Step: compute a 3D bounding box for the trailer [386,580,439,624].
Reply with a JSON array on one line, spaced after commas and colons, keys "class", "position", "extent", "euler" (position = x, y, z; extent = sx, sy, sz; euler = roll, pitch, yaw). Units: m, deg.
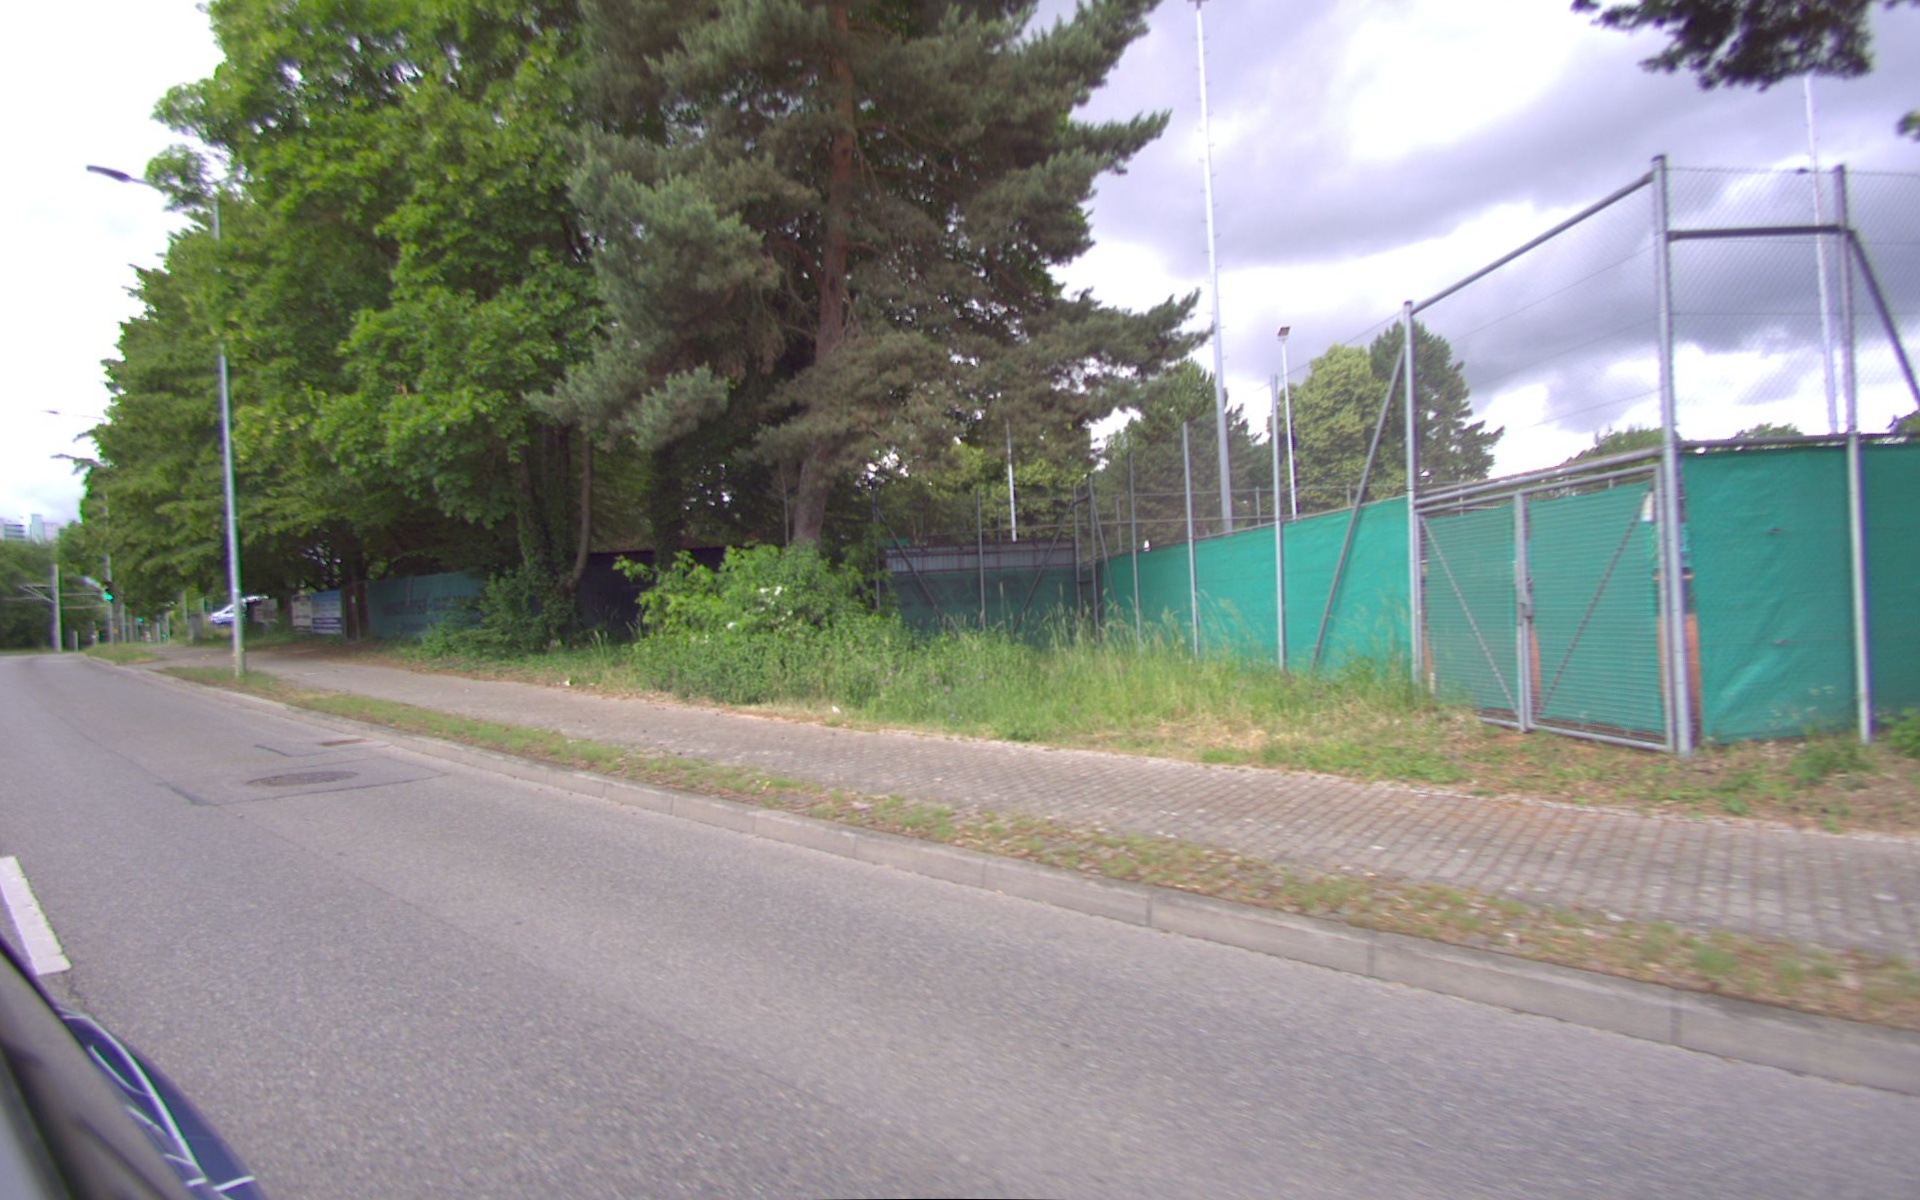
[{"class": "trailer", "position": [-41.418, 0.196, 76.423], "extent": [2.613, 3.097, 7.214], "euler": [-4, 1, -34]}]

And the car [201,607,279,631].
[{"class": "car", "position": [-50.096, 1.303, 70.516], "extent": [4.320, 1.326, 1.567], "euler": [-4, -1, -35]}]

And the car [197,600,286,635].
[{"class": "car", "position": [-51.813, 1.257, 73.047], "extent": [5.088, 2.122, 2.220], "euler": [-4, -1, -35]}]

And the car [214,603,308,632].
[{"class": "car", "position": [-46.907, 1.180, 68.016], "extent": [5.088, 1.573, 1.890], "euler": [-4, -1, -35]}]
